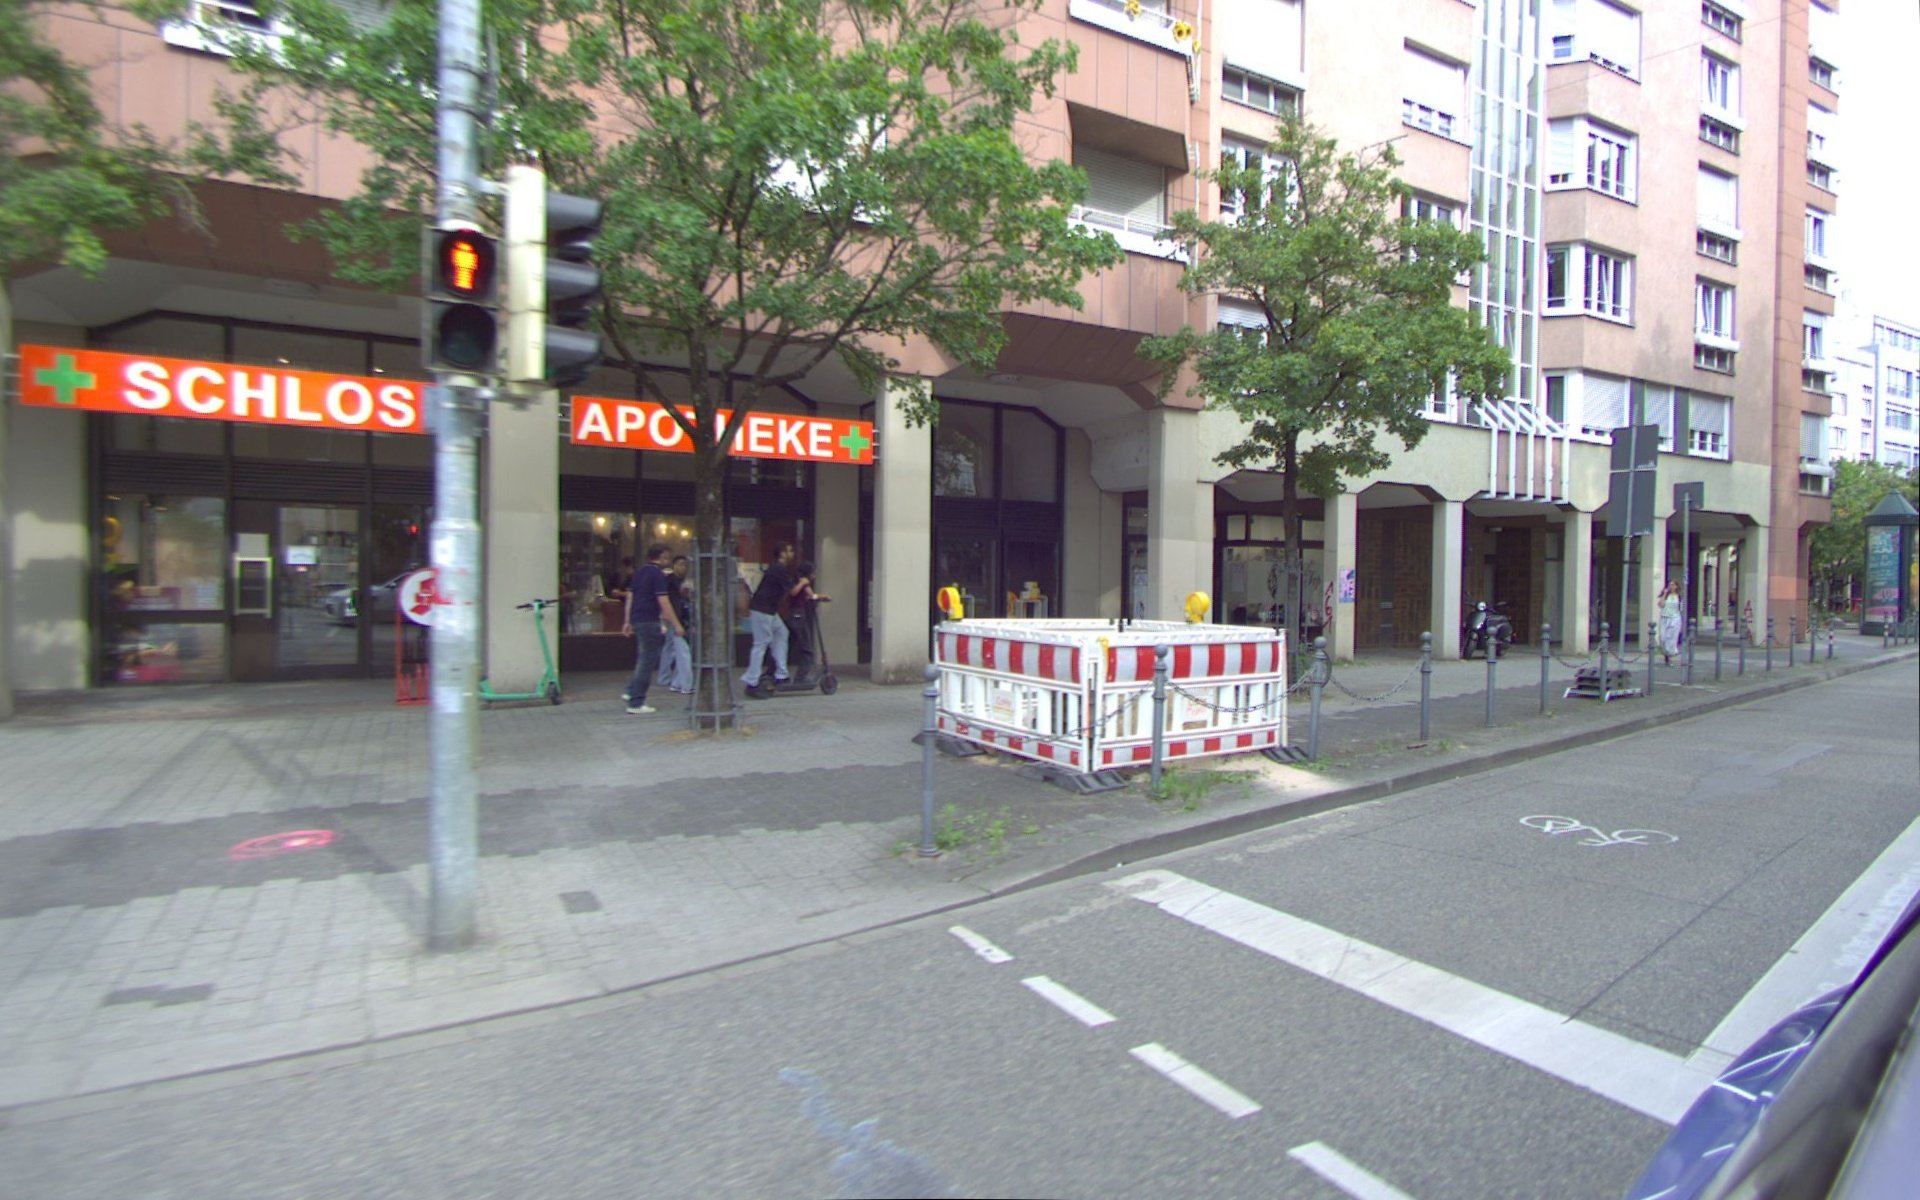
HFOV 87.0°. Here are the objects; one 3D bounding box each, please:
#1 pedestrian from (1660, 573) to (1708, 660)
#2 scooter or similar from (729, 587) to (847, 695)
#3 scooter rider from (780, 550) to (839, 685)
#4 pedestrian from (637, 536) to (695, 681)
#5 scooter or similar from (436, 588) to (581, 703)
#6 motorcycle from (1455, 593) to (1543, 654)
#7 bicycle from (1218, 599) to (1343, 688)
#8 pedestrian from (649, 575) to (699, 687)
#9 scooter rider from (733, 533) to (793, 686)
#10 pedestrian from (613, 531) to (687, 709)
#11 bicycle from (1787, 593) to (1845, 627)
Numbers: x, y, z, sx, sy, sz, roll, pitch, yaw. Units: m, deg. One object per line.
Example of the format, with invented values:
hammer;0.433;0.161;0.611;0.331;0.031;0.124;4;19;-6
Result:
pedestrian;14.217;0.309;19.871;0.810;1.670;0.545;0;1;-39
scooter or similar;-2.043;0.462;12.067;1.305;1.221;0.475;0;1;-36
scooter rider;-1.822;0.199;12.225;0.554;1.576;0.462;0;1;-35
pedestrian;-3.782;0.104;13.057;0.644;1.822;0.554;0;1;-9
scooter or similar;-4.895;0.463;10.993;1.378;1.184;0.556;0;1;-31
motorcycle;10.967;0.477;20.573;1.865;1.170;0.620;1;2;-28
bicycle;4.331;0.554;13.634;1.769;1.132;0.615;0;1;-33
pedestrian;-3.500;0.372;12.391;0.476;1.340;0.488;1;1;-2
scooter rider;-2.308;0.098;11.866;0.542;1.741;0.464;0;1;-35
pedestrian;-3.304;0.198;10.768;0.644;1.822;0.554;0;1;-29
bicycle;31.048;0.359;36.741;0.658;1.142;1.665;1;2;1
